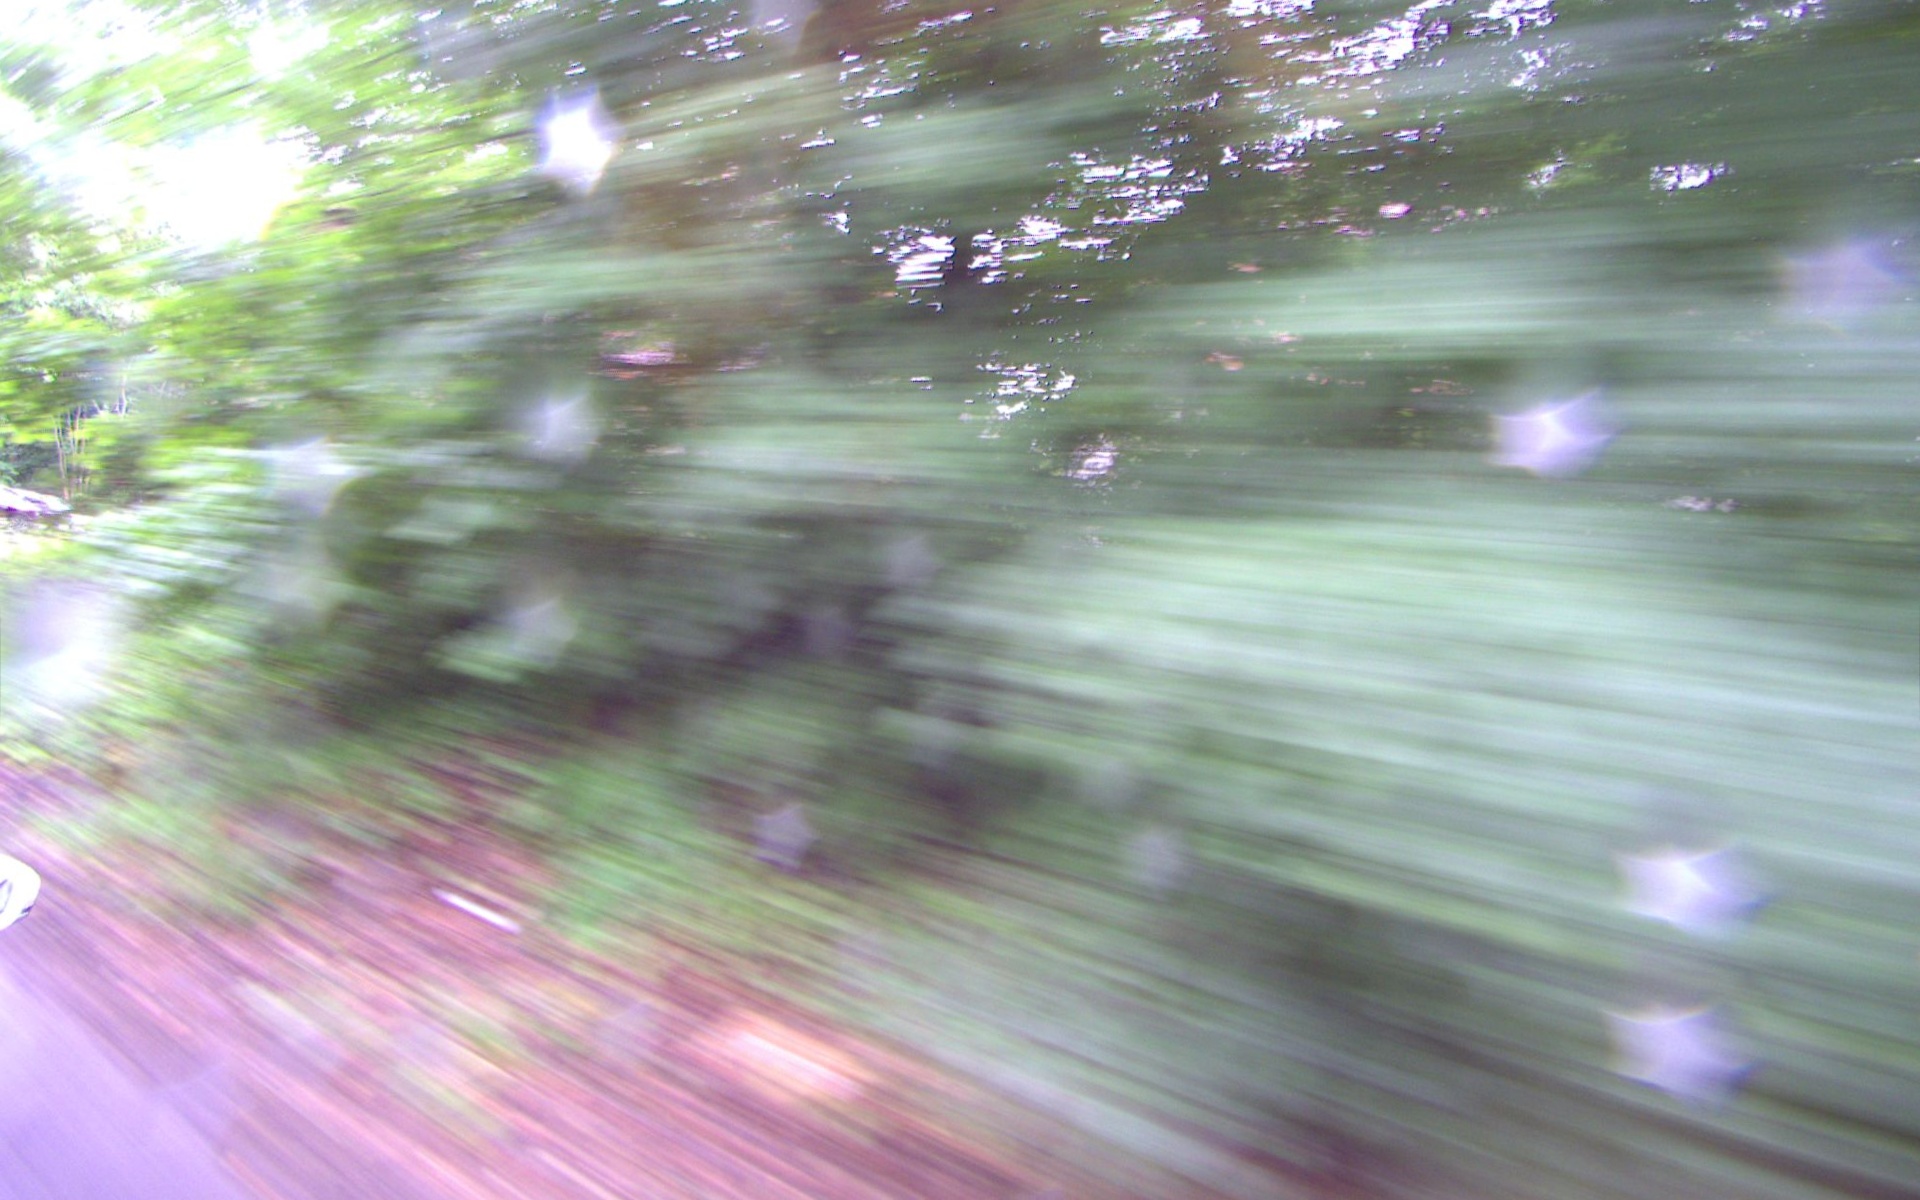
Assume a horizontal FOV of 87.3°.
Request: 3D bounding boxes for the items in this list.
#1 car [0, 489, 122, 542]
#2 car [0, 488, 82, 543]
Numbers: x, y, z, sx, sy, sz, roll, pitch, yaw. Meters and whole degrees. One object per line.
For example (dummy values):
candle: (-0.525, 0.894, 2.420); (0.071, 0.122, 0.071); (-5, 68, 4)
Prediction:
car: (-35.504, -3.323, 39.097); (4.079, 1.575, 1.770); (7, 1, -9)
car: (-34.908, -3.220, 36.069); (4.759, 1.699, 1.871); (7, 1, -11)
